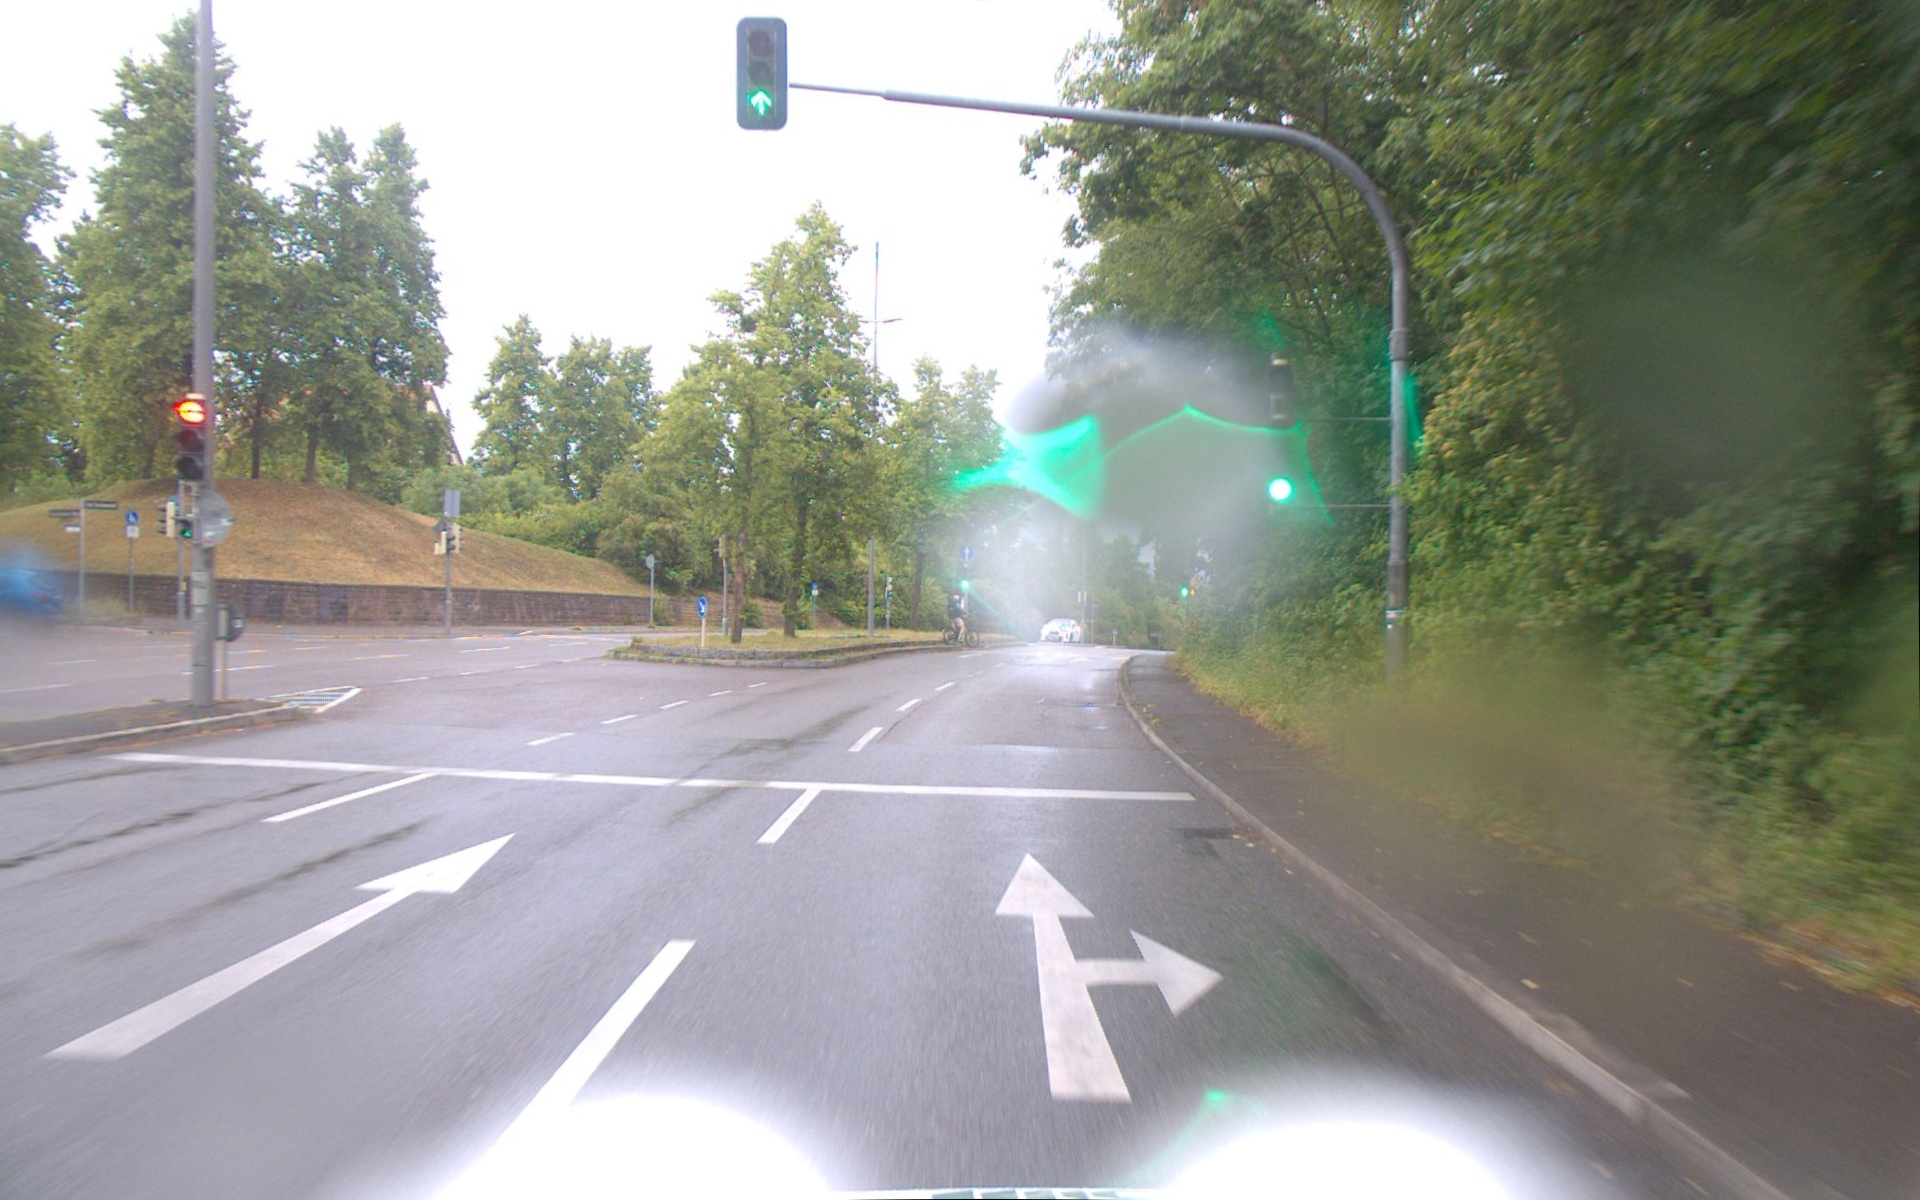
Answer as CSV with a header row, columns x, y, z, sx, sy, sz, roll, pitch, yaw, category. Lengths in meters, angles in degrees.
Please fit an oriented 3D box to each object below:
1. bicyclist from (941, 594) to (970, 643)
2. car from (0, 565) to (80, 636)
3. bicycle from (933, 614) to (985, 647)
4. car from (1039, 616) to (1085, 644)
x,y,z,sx,sy,sz,roll,pitch,yaw,category
-0.164,0.690,61.552,0.795,1.783,0.713,4,-5,-45,bicyclist
-22.159,-0.032,37.082,3.859,1.516,1.992,2,0,-15,car
-0.035,1.143,61.597,0.545,1.163,2.124,1,-1,45,bicycle
6.672,1.976,107.410,1.904,1.664,5.007,2,-2,16,car
